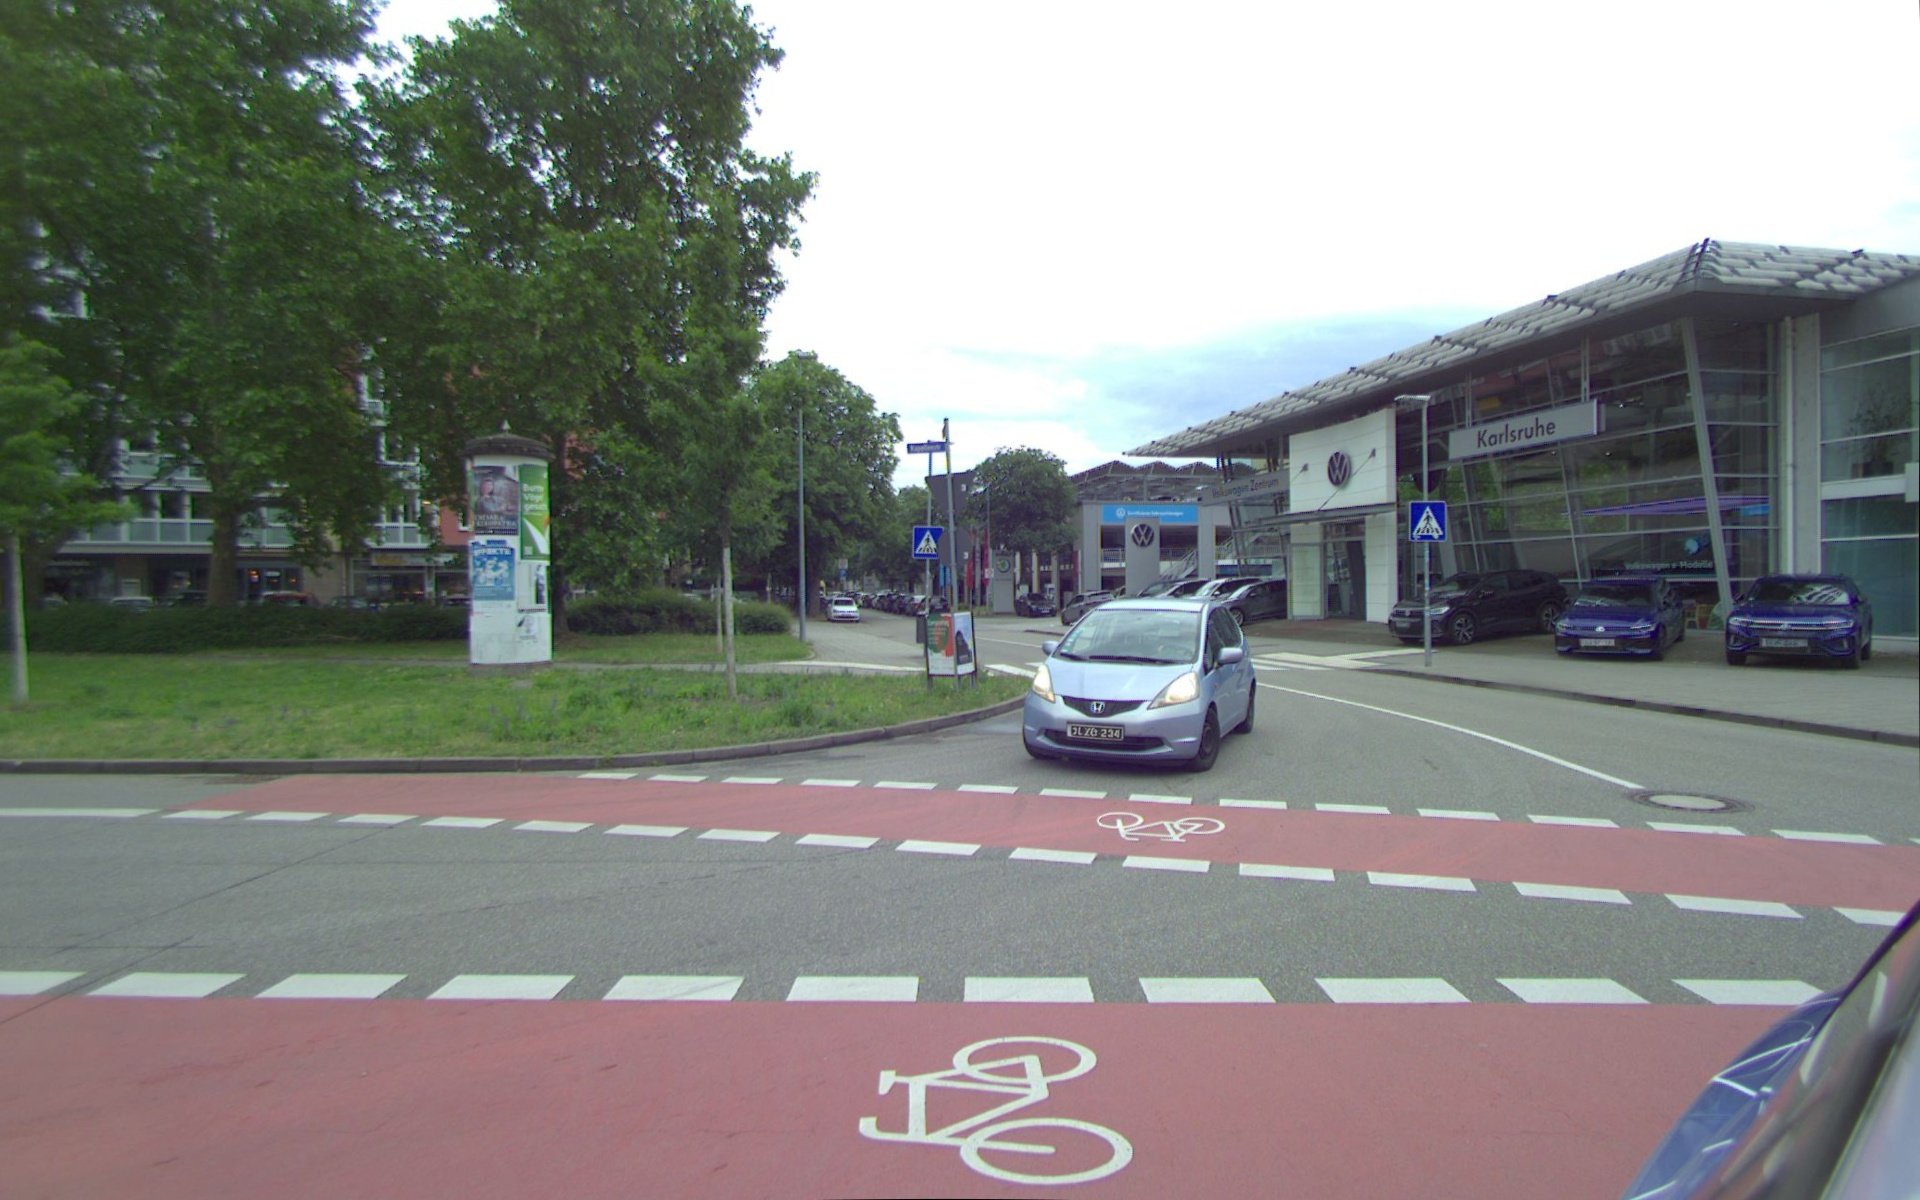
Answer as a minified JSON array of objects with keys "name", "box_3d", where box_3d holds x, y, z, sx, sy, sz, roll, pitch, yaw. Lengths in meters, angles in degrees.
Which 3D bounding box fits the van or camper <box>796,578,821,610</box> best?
[{"name":"van or camper","box_3d":[-13.768,-0.559,91.868,1.958,2.807,4.007,-1,0,-12]}]

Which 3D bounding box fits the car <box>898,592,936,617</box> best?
[{"name":"car","box_3d":[-3.143,0.283,73.468,1.822,1.644,4.485,-2,1,-15]}]

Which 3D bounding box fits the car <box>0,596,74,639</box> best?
[{"name":"car","box_3d":[-34.709,0.614,37.870,1.826,1.508,4.475,-1,0,-35]}]

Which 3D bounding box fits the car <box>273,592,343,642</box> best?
[{"name":"car","box_3d":[-22.270,0.539,34.506,1.826,1.567,4.475,-1,0,-35]}]

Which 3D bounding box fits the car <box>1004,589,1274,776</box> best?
[{"name":"car","box_3d":[2.035,0.654,10.405,1.736,1.485,4.062,-1,1,25]}]

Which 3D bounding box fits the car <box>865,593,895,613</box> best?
[{"name":"car","box_3d":[-6.983,0.254,88.093,1.822,1.644,4.485,-2,1,-15]}]

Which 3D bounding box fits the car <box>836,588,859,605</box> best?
[{"name":"car","box_3d":[-13.499,-0.438,120.796,1.981,2.010,4.793,-2,1,-15]}]

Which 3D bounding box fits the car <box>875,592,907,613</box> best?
[{"name":"car","box_3d":[-5.706,0.189,83.333,1.822,1.644,4.485,-2,1,-15]}]

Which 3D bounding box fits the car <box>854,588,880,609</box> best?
[{"name":"car","box_3d":[-9.256,-0.203,100.556,1.822,2.010,4.485,-2,1,-15]}]

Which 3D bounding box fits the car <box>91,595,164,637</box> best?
[{"name":"car","box_3d":[-32.346,0.587,39.406,1.826,1.508,4.475,-1,0,-35]}]

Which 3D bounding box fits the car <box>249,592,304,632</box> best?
[{"name":"car","box_3d":[-28.613,0.471,42.331,1.826,1.567,4.475,-1,0,-35]}]

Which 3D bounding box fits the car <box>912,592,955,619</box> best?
[{"name":"car","box_3d":[-1.807,0.343,67.767,1.822,1.644,4.485,-2,1,-15]}]

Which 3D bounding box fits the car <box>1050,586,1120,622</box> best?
[{"name":"car","box_3d":[5.878,0.203,48.006,1.880,1.583,4.022,-2,0,-15]}]

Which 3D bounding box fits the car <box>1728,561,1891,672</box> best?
[{"name":"car","box_3d":[15.101,0.209,17.916,1.896,1.581,4.155,-1,3,44]}]

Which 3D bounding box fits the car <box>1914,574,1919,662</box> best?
[{"name":"car","box_3d":[17.222,0.298,15.004,1.746,1.471,4.270,-1,0,-10]}]

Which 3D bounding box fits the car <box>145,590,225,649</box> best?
[{"name":"car","box_3d":[-24.869,0.570,32.609,1.826,1.744,4.475,-1,0,-35]}]

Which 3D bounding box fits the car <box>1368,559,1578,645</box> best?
[{"name":"car","box_3d":[12.391,0.033,24.468,4.416,1.652,1.865,-5,1,-18]}]

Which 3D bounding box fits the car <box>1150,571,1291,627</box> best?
[{"name":"car","box_3d":[9.802,-0.041,38.186,4.677,1.720,1.864,-5,0,-12]}]

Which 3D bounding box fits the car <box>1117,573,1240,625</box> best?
[{"name":"car","box_3d":[8.849,-0.060,41.099,4.384,1.720,1.873,-5,0,-12]}]

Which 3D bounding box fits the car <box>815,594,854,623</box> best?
[{"name":"car","box_3d":[-7.443,0.472,59.879,1.822,1.567,4.484,1,0,-13]}]

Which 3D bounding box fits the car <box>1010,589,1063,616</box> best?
[{"name":"car","box_3d":[4.723,0.111,62.795,1.859,1.567,4.485,-2,1,-15]}]

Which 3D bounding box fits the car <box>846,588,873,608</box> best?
[{"name":"car","box_3d":[-10.601,-0.258,106.160,1.981,2.010,4.793,-2,1,-15]}]

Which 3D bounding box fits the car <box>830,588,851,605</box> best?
[{"name":"car","box_3d":[-14.995,-0.495,126.773,1.981,2.010,4.793,-2,1,-15]}]

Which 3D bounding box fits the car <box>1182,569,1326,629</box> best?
[{"name":"car","box_3d":[10.277,-0.045,35.493,4.384,1.717,1.901,-5,0,-13]}]

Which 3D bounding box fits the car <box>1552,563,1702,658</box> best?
[{"name":"car","box_3d":[13.491,0.135,20.362,1.851,1.522,4.275,-1,3,43]}]

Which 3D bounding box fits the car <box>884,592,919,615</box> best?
[{"name":"car","box_3d":[-4.562,0.239,78.532,1.822,1.644,4.485,-2,1,-15]}]

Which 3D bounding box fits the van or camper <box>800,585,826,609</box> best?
[{"name":"van or camper","box_3d":[-12.699,-0.269,87.221,1.958,2.039,4.008,-1,1,-12]}]
